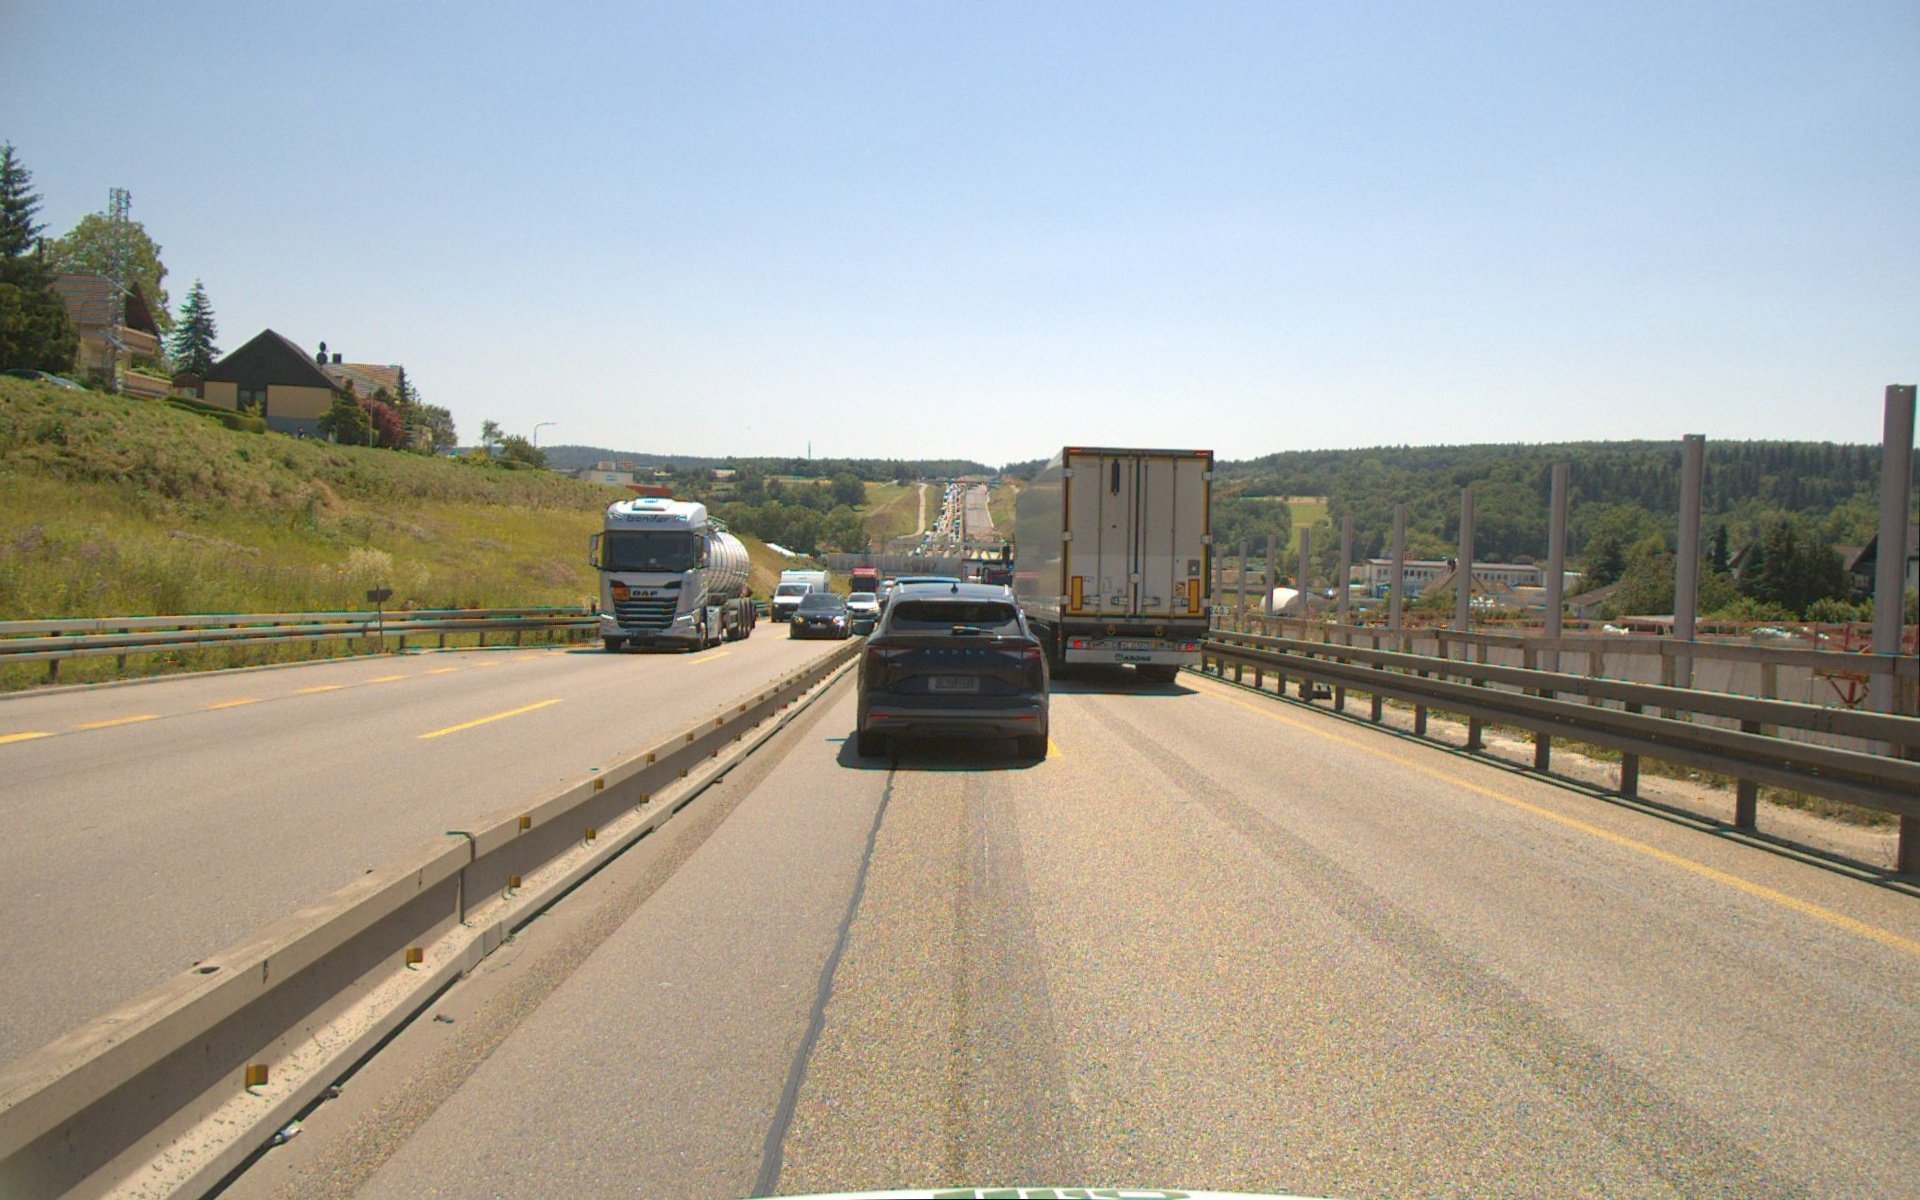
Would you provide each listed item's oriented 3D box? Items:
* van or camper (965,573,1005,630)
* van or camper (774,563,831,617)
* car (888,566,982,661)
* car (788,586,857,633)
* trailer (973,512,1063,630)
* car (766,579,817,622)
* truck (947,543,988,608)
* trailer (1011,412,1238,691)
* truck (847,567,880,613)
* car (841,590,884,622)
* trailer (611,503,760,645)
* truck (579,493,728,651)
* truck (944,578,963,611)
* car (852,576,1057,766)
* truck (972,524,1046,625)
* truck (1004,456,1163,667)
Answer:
[{"bbox_3d":[1.558,0.131,101.693,2.339,3.338,6.469,1,-1,1],"label":"van or camper"},{"bbox_3d":[-8.227,-0.530,87.106,2.309,2.723,7.856,1,0,-1],"label":"van or camper"},{"bbox_3d":[-0.572,0.326,37.058,1.953,1.959,4.506,1,-1,-1],"label":"car"},{"bbox_3d":[-4.412,0.287,53.623,1.856,1.439,4.679,0,0,0],"label":"car"},{"bbox_3d":[2.360,-1.019,72.993,3.116,4.592,14.962,1,-1,-1],"label":"trailer"},{"bbox_3d":[-8.167,0.005,80.517,1.953,2.005,5.342,1,0,-1],"label":"car"},{"bbox_3d":[0.524,-1.773,127.907,2.794,4.543,11.913,1,-1,-1],"label":"truck"},{"bbox_3d":[2.946,-0.867,34.127,3.116,4.591,13.106,1,0,-1],"label":"trailer"},{"bbox_3d":[-9.570,-0.932,164.500,2.794,4.212,11.913,1,-1,-1],"label":"truck"},{"bbox_3d":[-4.797,0.285,81.913,1.874,1.506,4.635,1,0,-1],"label":"car"},{"bbox_3d":[-7.880,-0.712,49.113,2.661,3.657,11.791,1,0,-1],"label":"trailer"},{"bbox_3d":[-7.757,-0.681,42.623,2.723,3.737,6.275,1,0,-1],"label":"truck"},{"bbox_3d":[-0.933,-0.721,231.756,2.586,4.267,9.281,1,-1,-1],"label":"truck"},{"bbox_3d":[-0.051,0.632,16.446,1.765,1.635,3.999,1,0,0],"label":"car"},{"bbox_3d":[2.291,-1.104,80.039,3.116,4.592,8.163,1,-1,-1],"label":"truck"},{"bbox_3d":[2.834,-0.888,40.605,3.116,4.591,8.164,1,0,-1],"label":"truck"}]
